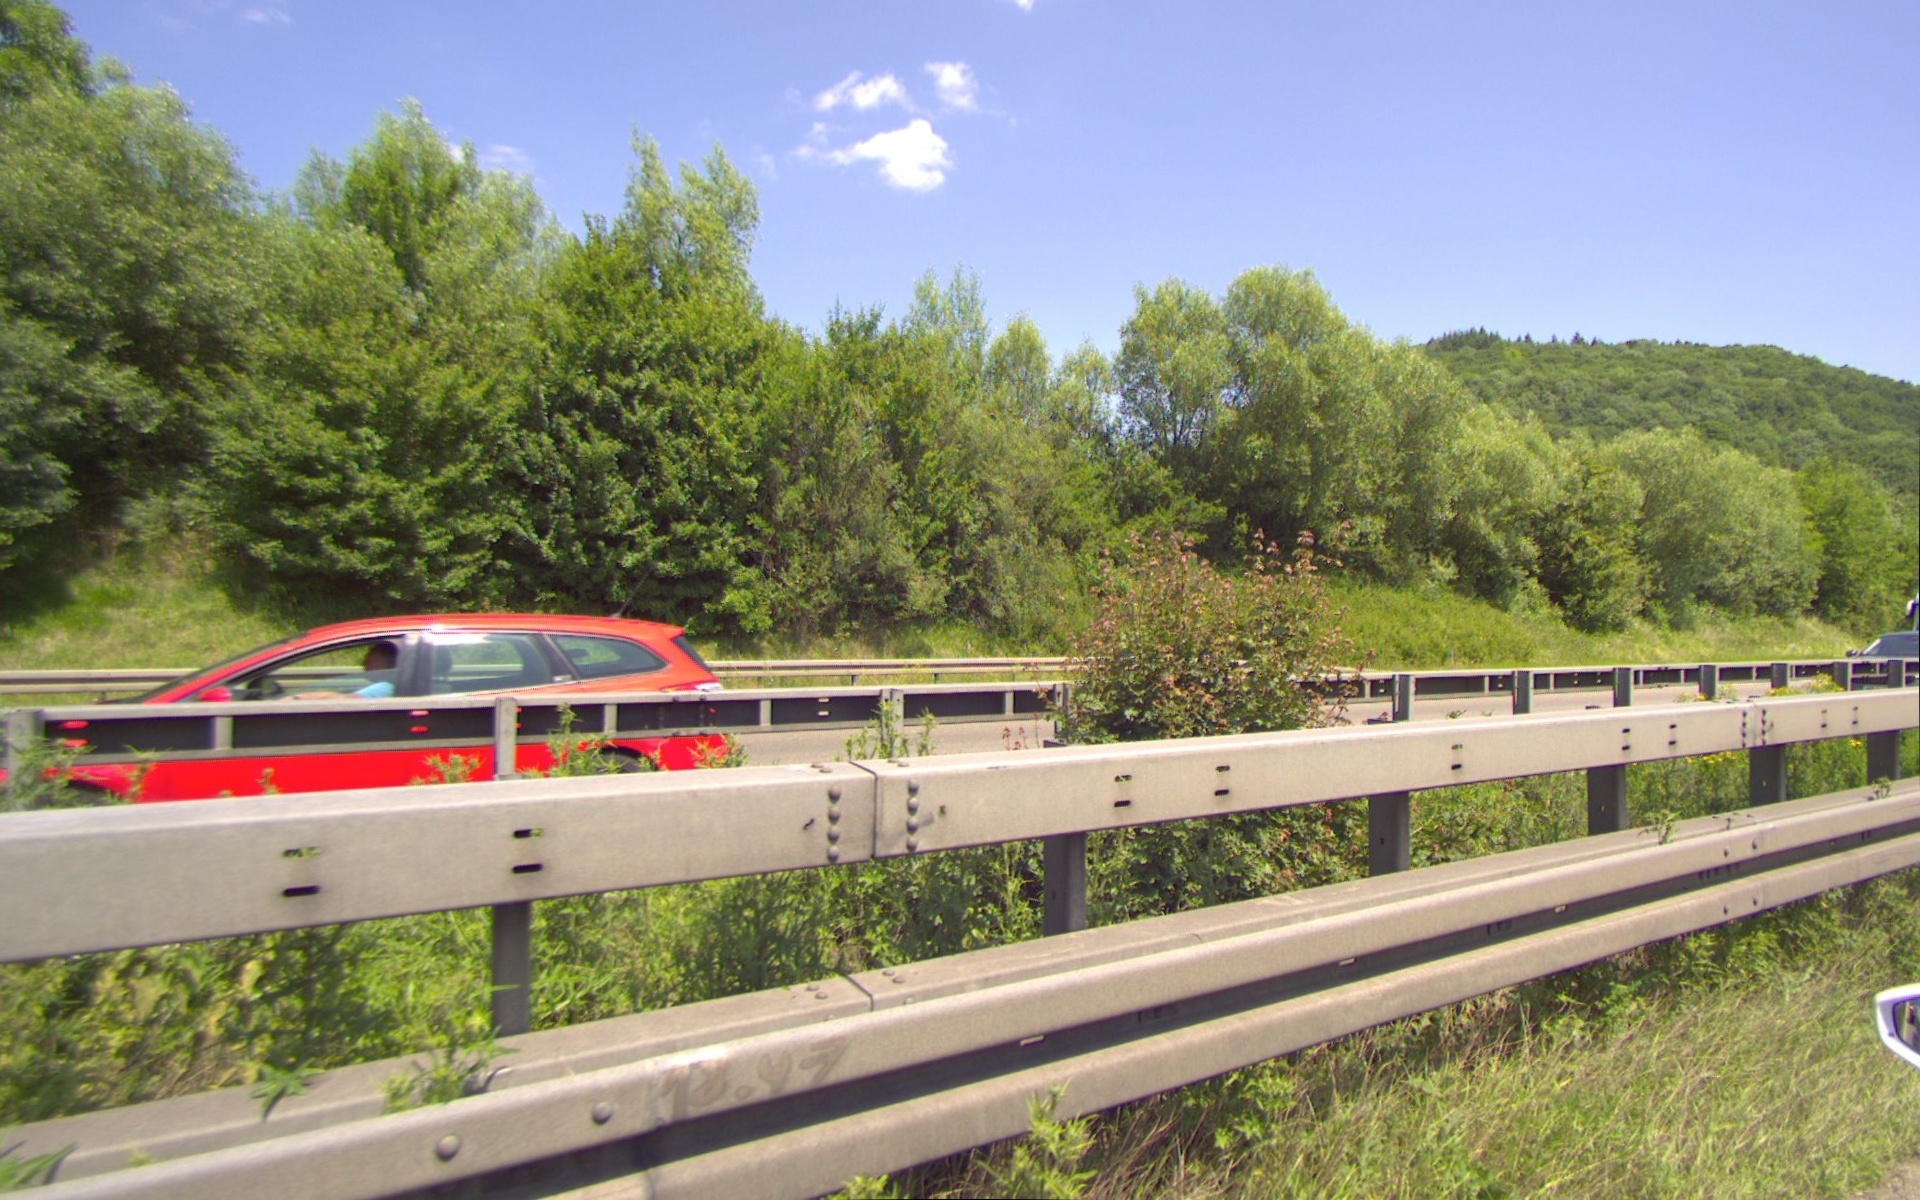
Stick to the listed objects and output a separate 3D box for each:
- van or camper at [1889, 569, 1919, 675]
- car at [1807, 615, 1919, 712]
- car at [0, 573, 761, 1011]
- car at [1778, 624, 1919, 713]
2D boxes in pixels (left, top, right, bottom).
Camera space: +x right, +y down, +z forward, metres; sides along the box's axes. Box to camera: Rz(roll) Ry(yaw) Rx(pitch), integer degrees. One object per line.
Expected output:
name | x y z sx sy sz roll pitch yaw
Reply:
van or camper | 33.912 0.756 33.280 7.558 3.380 2.578 1 -1 -31
car | 18.122 1.147 19.037 4.437 1.673 1.767 1 -1 -30
car | -3.657 0.915 6.359 4.286 2.040 1.983 1 0 -32
car | 17.487 1.216 18.944 4.484 1.483 1.788 1 -1 -31
